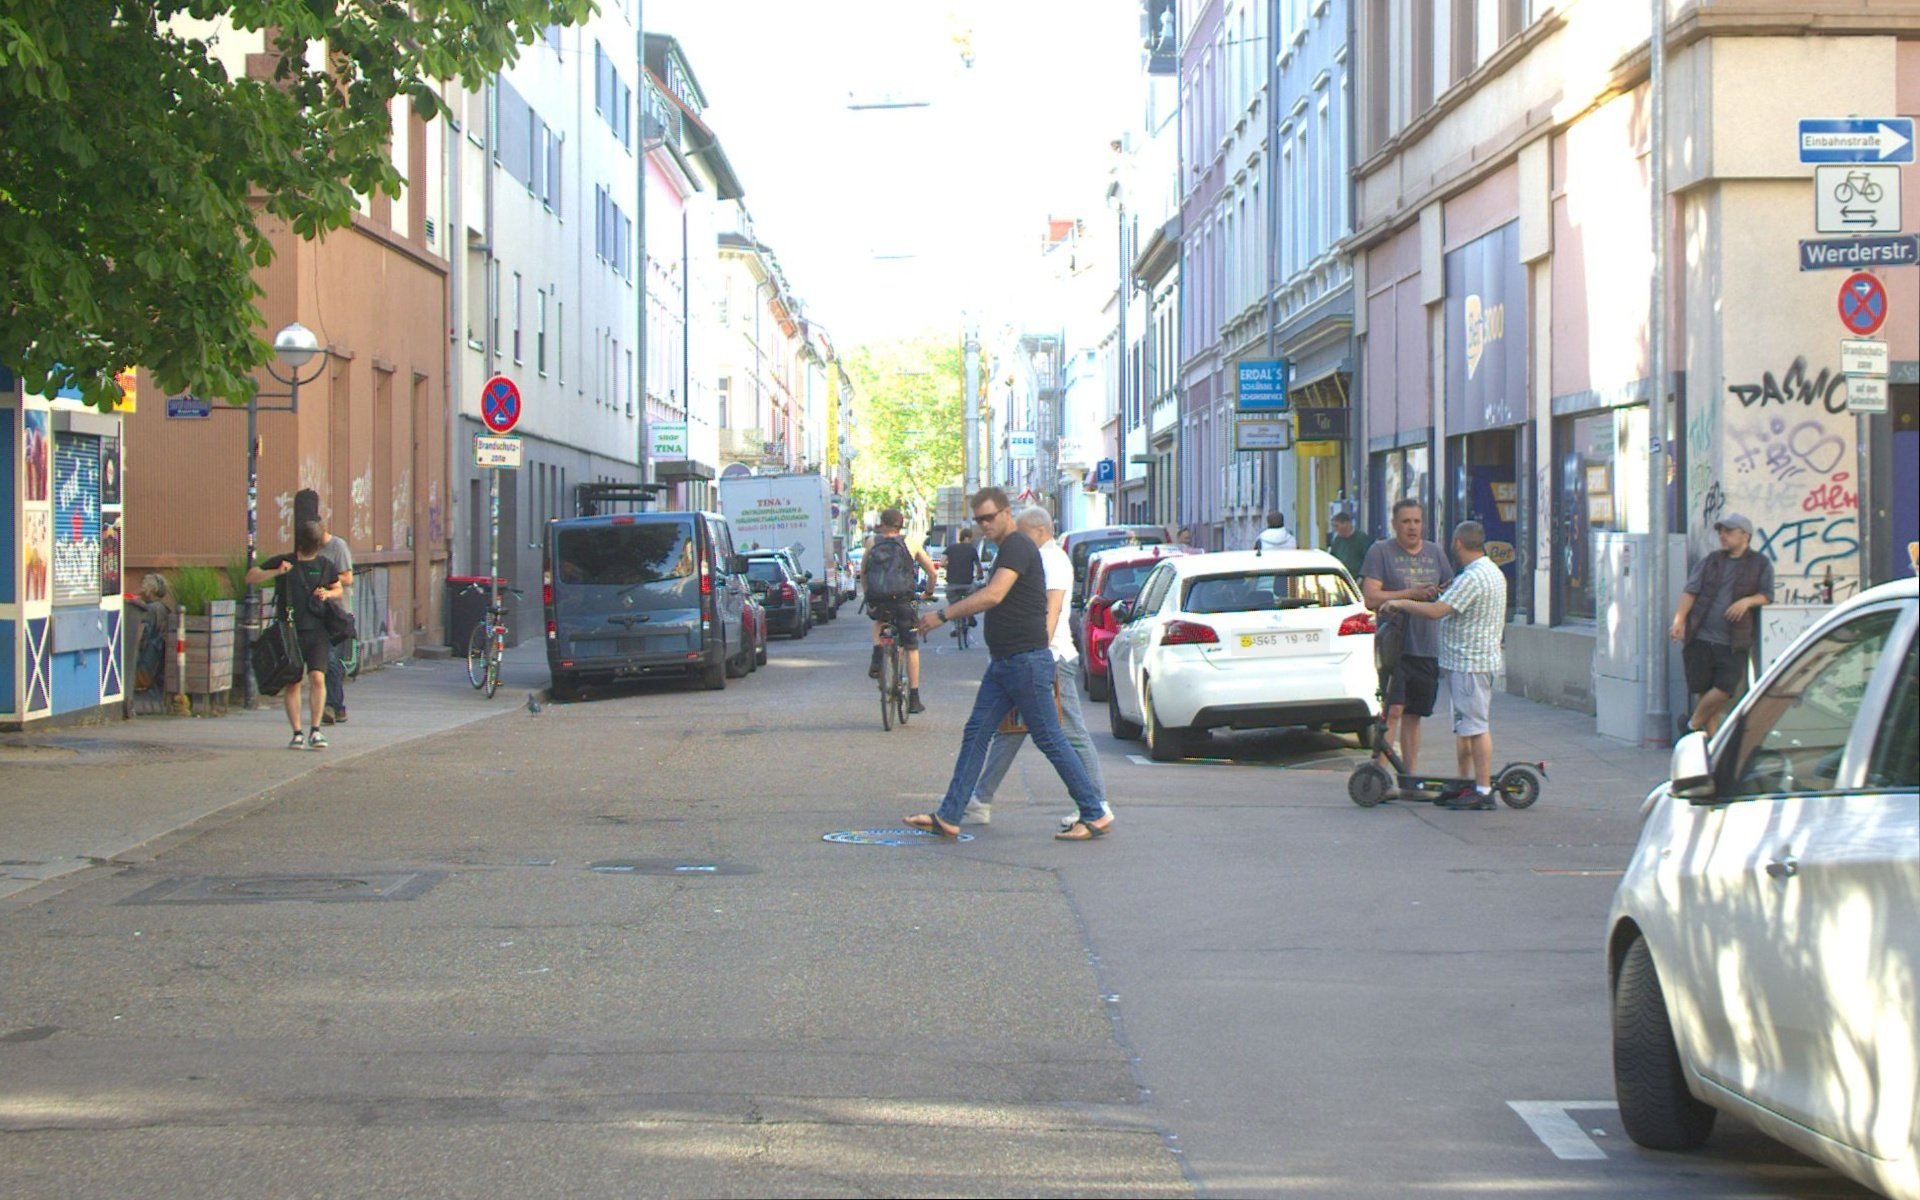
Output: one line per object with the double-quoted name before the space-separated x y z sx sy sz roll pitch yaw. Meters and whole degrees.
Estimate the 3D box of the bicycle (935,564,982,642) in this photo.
"bicycle" -0.030 0.039 51.295 0.648 1.126 2.136 1 0 -1

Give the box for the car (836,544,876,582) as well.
"car" -4.817 -1.706 159.226 1.750 1.678 3.796 -1 0 -1

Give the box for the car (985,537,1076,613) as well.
"car" 1.590 -0.594 79.037 1.918 1.700 4.366 0 1 -1

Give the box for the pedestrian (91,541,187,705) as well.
"pedestrian" -7.346 0.201 30.775 0.705 1.440 0.617 1 0 -2

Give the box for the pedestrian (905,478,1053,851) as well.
"pedestrian" 0.087 0.307 17.298 0.693 1.819 1.003 0 1 -2

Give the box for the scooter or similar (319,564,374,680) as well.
"scooter or similar" -6.551 0.227 36.717 0.347 1.212 1.392 1 0 -1

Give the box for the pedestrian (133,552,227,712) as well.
"pedestrian" -7.130 0.286 31.445 0.705 1.440 0.617 1 0 -2

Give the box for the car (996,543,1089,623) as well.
"car" 1.676 -0.349 70.785 1.686 1.538 4.046 -2 0 -1

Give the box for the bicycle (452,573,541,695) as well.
"bicycle" -4.801 0.337 35.511 0.550 1.212 1.989 1 0 -18

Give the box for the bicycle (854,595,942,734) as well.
"bicycle" -0.505 0.506 27.921 0.677 1.071 1.942 1 0 -1

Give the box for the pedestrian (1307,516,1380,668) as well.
"pedestrian" 4.428 -0.097 39.744 0.628 1.734 0.659 1 0 -13

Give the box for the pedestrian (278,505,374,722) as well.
"pedestrian" -5.474 0.113 29.692 0.646 1.827 0.697 2 0 -1

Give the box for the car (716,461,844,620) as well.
"car" -3.932 -1.283 76.366 2.343 3.280 7.154 -2 0 0

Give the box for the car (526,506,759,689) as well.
"car" -3.455 -0.083 38.415 2.020 1.873 5.297 1 1 1

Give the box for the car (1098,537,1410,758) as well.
"car" 2.132 0.319 26.051 1.787 1.511 4.137 1 0 -3

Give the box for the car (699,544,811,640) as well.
"car" -3.527 -0.176 59.830 1.716 1.473 4.499 -3 2 -1

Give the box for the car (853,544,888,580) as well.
"car" -4.581 -1.942 176.137 1.750 1.815 3.796 -1 0 -1

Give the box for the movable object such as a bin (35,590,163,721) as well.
"movable object such as a bin" -7.298 0.462 29.166 0.870 1.083 0.774 1 0 0

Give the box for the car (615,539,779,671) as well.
"car" -3.312 0.055 43.824 1.750 1.517 3.869 -3 0 0

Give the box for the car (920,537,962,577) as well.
"car" -0.755 -1.699 136.157 1.611 1.555 3.610 0 1 -1

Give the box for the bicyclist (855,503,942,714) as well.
"bicyclist" -0.503 0.067 27.920 0.667 1.671 1.097 1 0 -1

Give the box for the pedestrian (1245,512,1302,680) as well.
"pedestrian" 3.269 -0.042 35.858 0.561 1.734 0.427 1 0 5

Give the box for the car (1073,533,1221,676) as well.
"car" 2.183 0.039 40.770 1.570 1.551 3.314 -3 0 1

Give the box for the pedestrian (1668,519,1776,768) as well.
"pedestrian" 5.143 0.283 23.208 0.600 1.644 0.464 1 3 31

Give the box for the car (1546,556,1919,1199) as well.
"car" 2.550 0.652 7.535 1.689 1.458 3.641 1 0 -3

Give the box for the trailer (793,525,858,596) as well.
"trailer" -4.121 -1.206 105.703 1.882 2.085 3.737 -1 0 -1

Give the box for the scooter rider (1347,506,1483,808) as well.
"scooter rider" 2.731 0.333 20.623 0.564 1.772 0.610 1 0 35

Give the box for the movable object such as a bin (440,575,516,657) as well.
"movable object such as a bin" -6.354 0.207 45.350 0.760 1.063 0.651 1 0 19

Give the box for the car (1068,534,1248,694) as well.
"car" 2.038 0.129 36.117 1.606 1.567 3.554 1 0 -1

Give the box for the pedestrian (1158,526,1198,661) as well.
"pedestrian" 2.770 -0.085 43.746 0.441 1.698 0.654 1 0 0

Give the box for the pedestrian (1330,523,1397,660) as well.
"pedestrian" 4.571 -0.096 38.973 0.587 1.524 0.659 1 0 -6

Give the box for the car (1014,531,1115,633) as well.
"car" 1.799 -0.312 59.988 1.556 1.706 3.559 1 0 -1

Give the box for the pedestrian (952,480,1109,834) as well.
"pedestrian" 0.365 0.296 18.252 0.761 1.829 0.688 1 0 -2

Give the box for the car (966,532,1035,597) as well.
"car" 1.191 -1.060 102.515 1.750 1.872 3.973 -1 0 -3

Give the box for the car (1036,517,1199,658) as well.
"car" 2.077 -0.178 46.516 1.899 1.787 4.315 1 0 -1

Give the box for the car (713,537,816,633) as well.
"car" -3.690 -0.324 65.434 1.716 1.644 4.246 -3 2 -1

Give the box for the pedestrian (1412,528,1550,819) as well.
"pedestrian" 2.982 0.412 19.687 0.528 1.633 0.564 1 0 44

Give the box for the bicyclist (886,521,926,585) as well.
"bicyclist" -1.377 -1.215 88.465 0.950 1.622 0.953 -2 1 0

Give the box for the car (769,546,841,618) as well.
"car" -4.078 -0.476 90.694 1.752 1.810 4.078 -2 0 -1

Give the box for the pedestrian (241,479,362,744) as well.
"pedestrian" -4.741 0.079 24.778 0.716 1.867 0.720 1 0 -1

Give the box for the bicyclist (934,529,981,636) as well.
"bicyclist" -0.035 -0.263 51.214 0.671 1.562 0.716 1 0 -1

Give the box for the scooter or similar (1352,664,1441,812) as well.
"scooter or similar" 2.574 0.807 20.325 0.393 0.825 0.926 1 0 0

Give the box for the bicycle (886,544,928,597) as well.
"bicycle" -1.364 -0.767 88.733 0.977 1.310 2.555 -1 1 1
